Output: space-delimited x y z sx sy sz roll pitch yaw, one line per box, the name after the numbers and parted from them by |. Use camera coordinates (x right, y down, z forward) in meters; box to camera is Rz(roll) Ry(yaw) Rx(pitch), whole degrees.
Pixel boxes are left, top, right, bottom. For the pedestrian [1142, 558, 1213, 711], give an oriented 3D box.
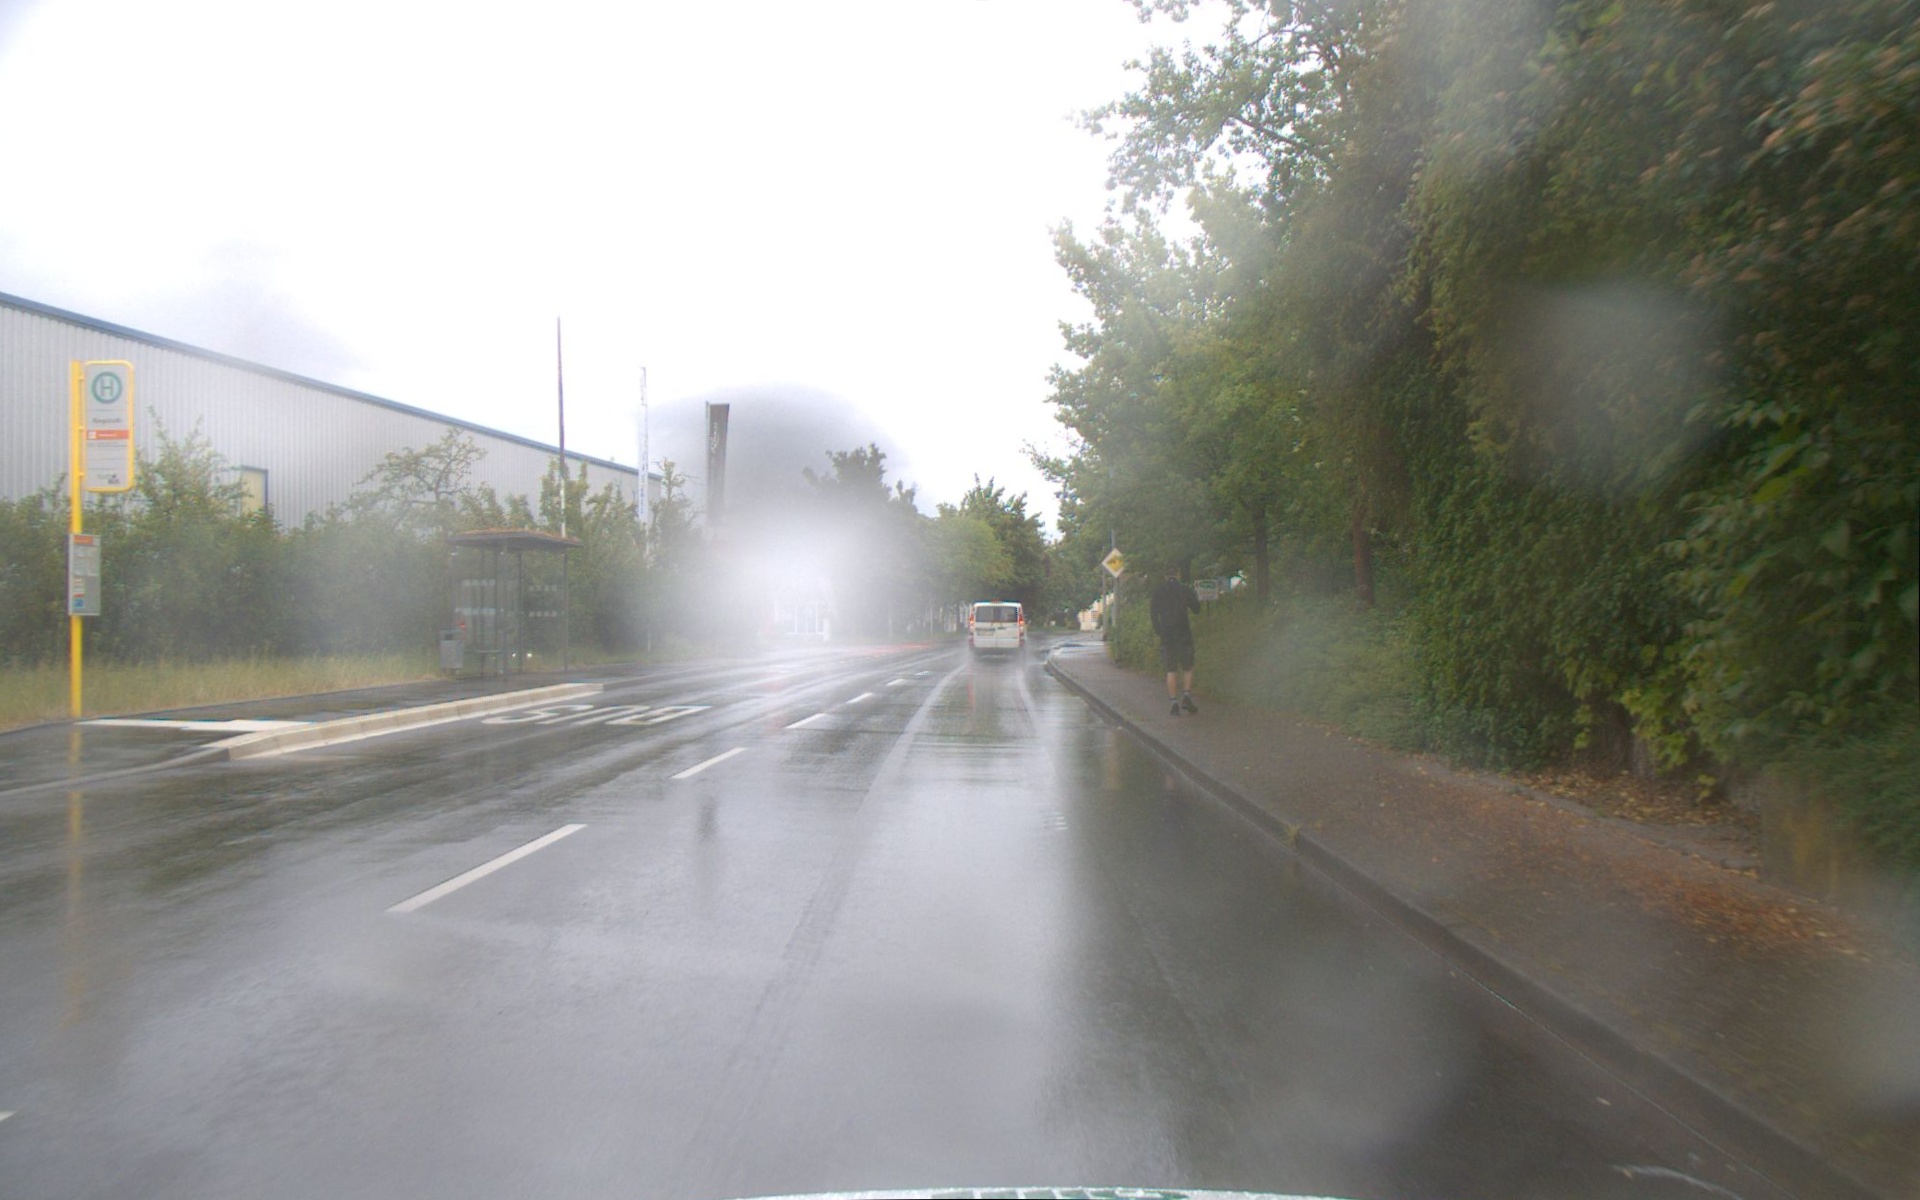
2.737 0.423 20.886 0.730 1.870 0.890 -2 0 0 | pedestrian

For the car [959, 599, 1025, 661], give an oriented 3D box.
1.095 0.948 54.486 2.073 1.921 4.503 0 0 2 | car
